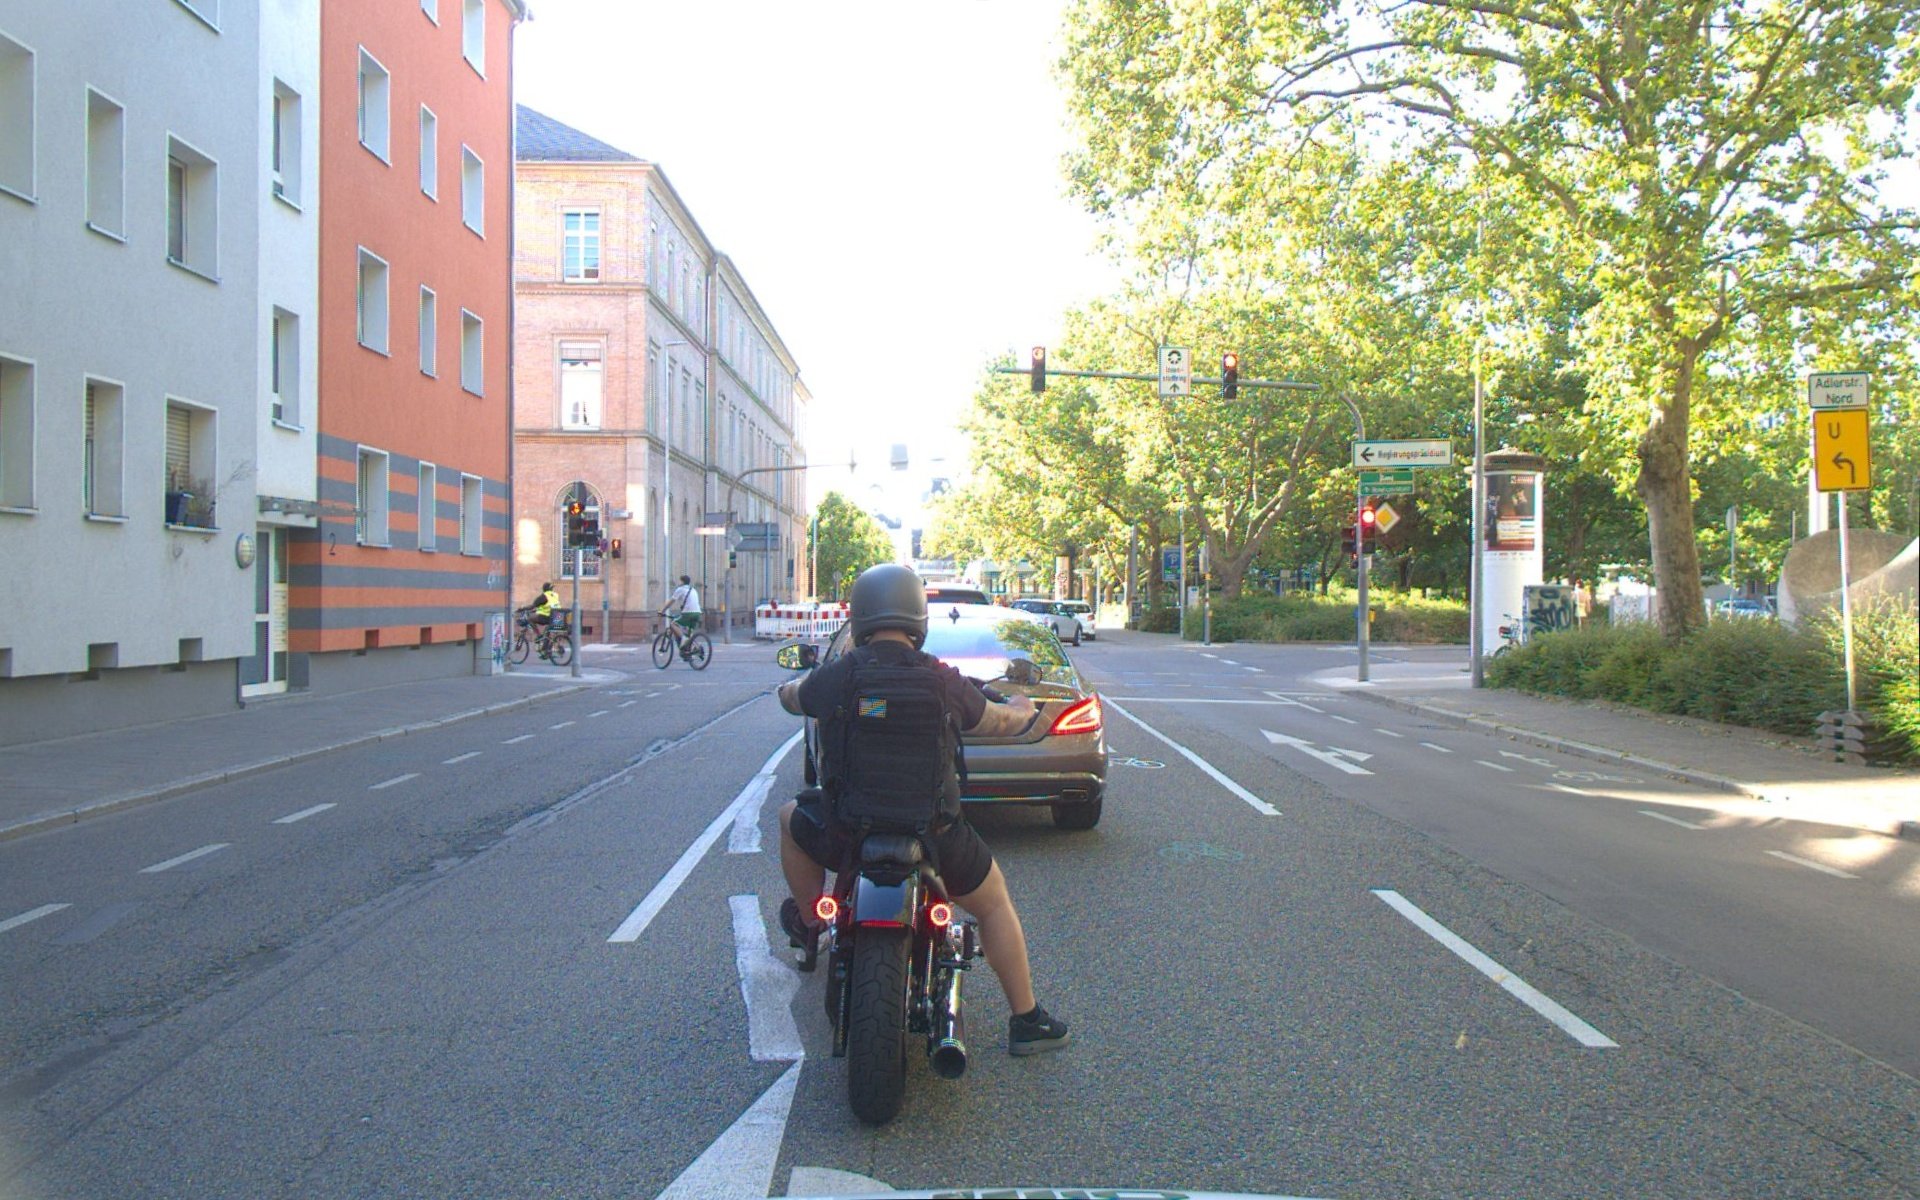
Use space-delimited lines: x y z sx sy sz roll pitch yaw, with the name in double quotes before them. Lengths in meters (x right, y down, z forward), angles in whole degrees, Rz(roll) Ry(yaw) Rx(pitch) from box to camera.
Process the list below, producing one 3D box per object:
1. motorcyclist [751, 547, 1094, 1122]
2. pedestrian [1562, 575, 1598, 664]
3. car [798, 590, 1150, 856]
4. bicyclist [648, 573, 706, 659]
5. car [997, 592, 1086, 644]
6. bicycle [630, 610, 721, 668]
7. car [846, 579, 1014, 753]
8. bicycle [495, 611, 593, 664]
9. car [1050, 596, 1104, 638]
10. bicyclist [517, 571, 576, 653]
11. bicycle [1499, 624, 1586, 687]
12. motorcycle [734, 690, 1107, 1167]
"motorcyclist" -0.115 0.661 5.391 0.969 1.625 1.403 0 0 -1
"pedestrian" 13.204 0.414 35.211 0.540 1.881 0.593 0 0 0
"car" -0.115 0.681 11.585 1.909 1.498 4.355 0 0 -7
"bicyclist" -5.742 0.318 33.536 0.944 1.722 0.703 0 0 33
"car" 2.541 0.523 50.684 1.783 1.506 3.911 -1 0 17
"bicycle" -5.781 0.777 33.557 1.840 1.123 0.703 0 0 34
"car" -0.338 0.616 17.749 1.580 1.636 4.327 0 0 -2
"bicycle" -9.001 0.815 35.765 2.114 1.123 0.704 -1 -1 27
"car" 4.440 0.642 63.349 1.817 1.512 3.908 1 0 1
"bicyclist" -8.933 0.263 35.719 1.024 1.724 0.705 -1 -1 27
"bicycle" 9.745 0.920 27.664 1.324 1.041 0.363 0 0 0
"motorcycle" -0.120 0.924 5.545 0.969 1.097 2.451 0 0 -1
